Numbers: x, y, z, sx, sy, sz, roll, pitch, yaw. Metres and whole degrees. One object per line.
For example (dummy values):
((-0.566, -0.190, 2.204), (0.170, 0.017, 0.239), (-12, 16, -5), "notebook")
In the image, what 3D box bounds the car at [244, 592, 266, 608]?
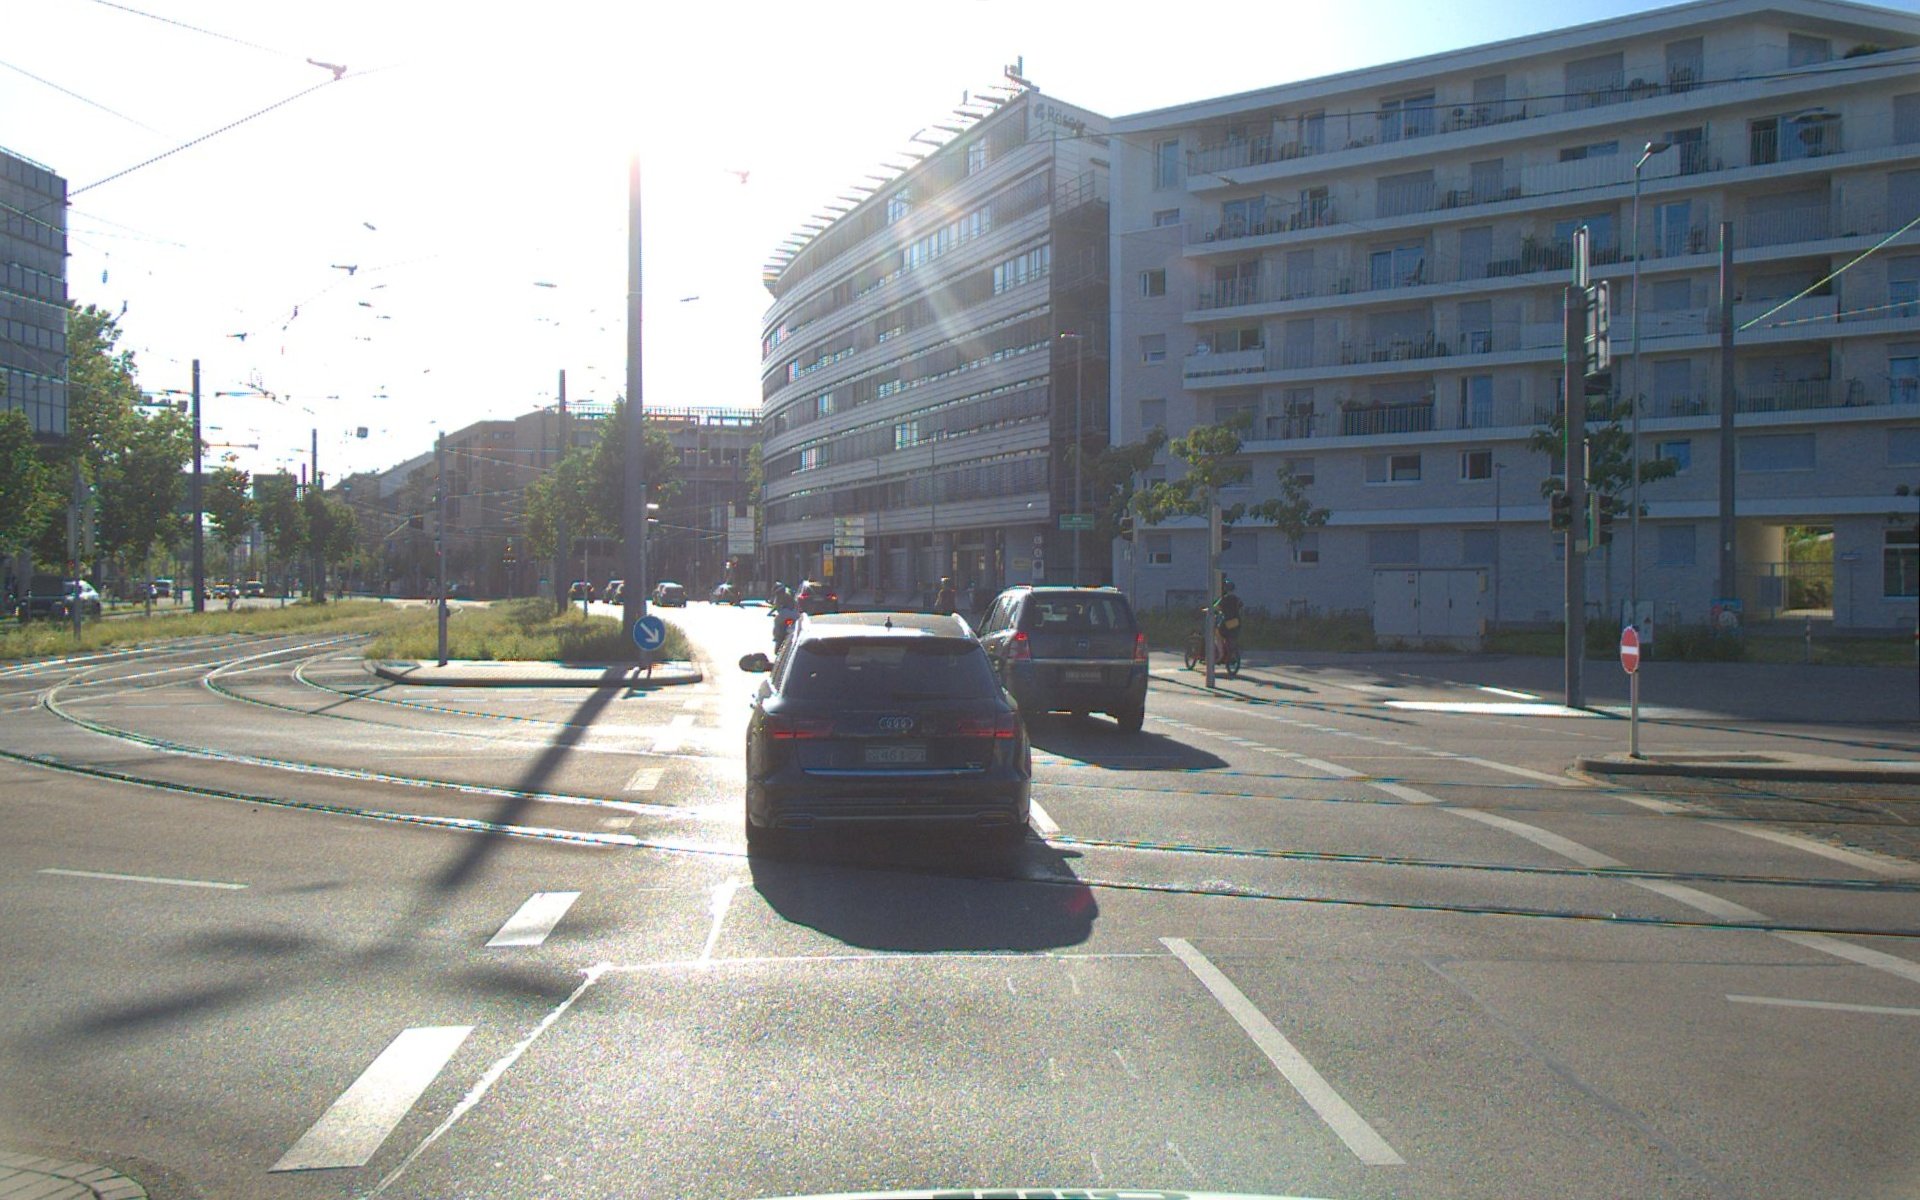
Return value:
((-79.197, -0.030, 185.763), (1.971, 1.713, 3.963), (-1, 1, -28), "car")

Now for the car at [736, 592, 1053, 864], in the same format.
((-0.380, 0.737, 11.610), (1.804, 1.479, 4.000), (2, 1, 0), "car")

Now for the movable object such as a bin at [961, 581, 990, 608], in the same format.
((0.781, -0.276, 83.957), (1.047, 1.355, 1.115), (-1, 0, -27), "movable object such as a bin")

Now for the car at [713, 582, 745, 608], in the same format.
((-17.332, -0.335, 124.088), (1.960, 1.870, 3.985), (-1, 0, -14), "car")

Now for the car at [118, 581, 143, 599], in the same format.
((-99.218, -1.222, 197.836), (1.980, 2.048, 3.946), (-1, 1, -38), "car")

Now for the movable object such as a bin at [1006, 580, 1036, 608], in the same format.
((2.942, -0.284, 79.685), (1.047, 1.355, 1.115), (-1, 0, -27), "movable object such as a bin")

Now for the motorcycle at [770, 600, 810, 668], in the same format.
((-3.664, 0.716, 35.618), (0.846, 1.417, 1.891), (0, 0, -6), "motorcycle")

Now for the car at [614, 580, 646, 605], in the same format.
((-22.798, -0.494, 114.142), (1.960, 1.624, 3.985), (-1, 0, -14), "car")

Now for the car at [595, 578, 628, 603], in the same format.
((-25.295, -0.644, 119.849), (1.962, 1.736, 3.981), (-1, 0, -17), "car")

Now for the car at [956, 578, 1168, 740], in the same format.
((1.121, 0.625, 20.218), (1.713, 1.725, 4.253), (2, 0, -8), "car")

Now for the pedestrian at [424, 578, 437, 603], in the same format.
((-40.117, -0.706, 125.408), (0.887, 1.856, 0.825), (-1, -1, -16), "pedestrian")

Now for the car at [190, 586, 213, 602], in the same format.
((-81.777, -0.624, 178.263), (1.971, 1.713, 3.963), (-1, 1, -28), "car")

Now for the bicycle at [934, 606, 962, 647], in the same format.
((-0.324, 0.729, 45.769), (0.640, 1.061, 1.930), (0, 1, 4), "bicycle")

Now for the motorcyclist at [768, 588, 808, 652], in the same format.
((-3.695, 0.427, 35.578), (0.846, 1.349, 0.680), (0, 0, -7), "motorcyclist")

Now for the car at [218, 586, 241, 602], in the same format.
((-79.136, -0.619, 179.159), (1.971, 1.713, 3.963), (-1, 1, -28), "car")

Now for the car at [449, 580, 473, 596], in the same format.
((-55.186, -1.306, 182.970), (1.968, 1.736, 3.968), (-1, 0, -25), "car")

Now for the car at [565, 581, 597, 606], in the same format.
((-27.399, -0.470, 119.369), (1.962, 1.736, 3.981), (-1, 0, -17), "car")

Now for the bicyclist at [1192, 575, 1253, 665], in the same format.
((5.174, 0.387, 32.592), (0.760, 1.736, 0.918), (0, 0, -38), "bicyclist")

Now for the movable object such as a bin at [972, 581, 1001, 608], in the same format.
((1.334, -0.263, 82.867), (1.047, 1.355, 1.115), (-1, 0, -27), "movable object such as a bin")

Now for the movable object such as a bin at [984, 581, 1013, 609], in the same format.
((1.897, -0.256, 81.802), (1.047, 1.355, 1.115), (-1, 0, -27), "movable object such as a bin")

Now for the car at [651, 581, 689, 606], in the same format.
((-19.603, -0.394, 111.670), (1.962, 1.624, 3.980), (-1, 0, -18), "car")

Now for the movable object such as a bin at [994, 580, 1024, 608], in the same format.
((2.402, -0.291, 80.778), (1.047, 1.355, 1.115), (-1, 0, -27), "movable object such as a bin")

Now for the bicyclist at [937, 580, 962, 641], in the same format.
((-0.286, 0.284, 45.763), (0.640, 1.671, 0.972), (0, 1, 4), "bicyclist")

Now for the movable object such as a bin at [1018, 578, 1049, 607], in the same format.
((3.497, -0.338, 78.562), (1.047, 1.355, 1.115), (-1, 0, -27), "movable object such as a bin")

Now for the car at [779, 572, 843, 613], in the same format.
((-6.977, -0.363, 77.105), (1.972, 1.745, 4.349), (1, 1, -19), "car")

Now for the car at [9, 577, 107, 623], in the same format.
((-34.606, -0.018, 63.594), (1.957, 1.668, 4.402), (0, 0, -9), "car")

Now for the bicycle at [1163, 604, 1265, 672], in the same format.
((5.021, 0.737, 32.789), (0.760, 1.284, 2.054), (0, 0, -37), "bicycle")

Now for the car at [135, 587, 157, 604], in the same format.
((-85.745, -0.510, 174.203), (1.971, 1.713, 3.963), (-1, 1, -28), "car")
